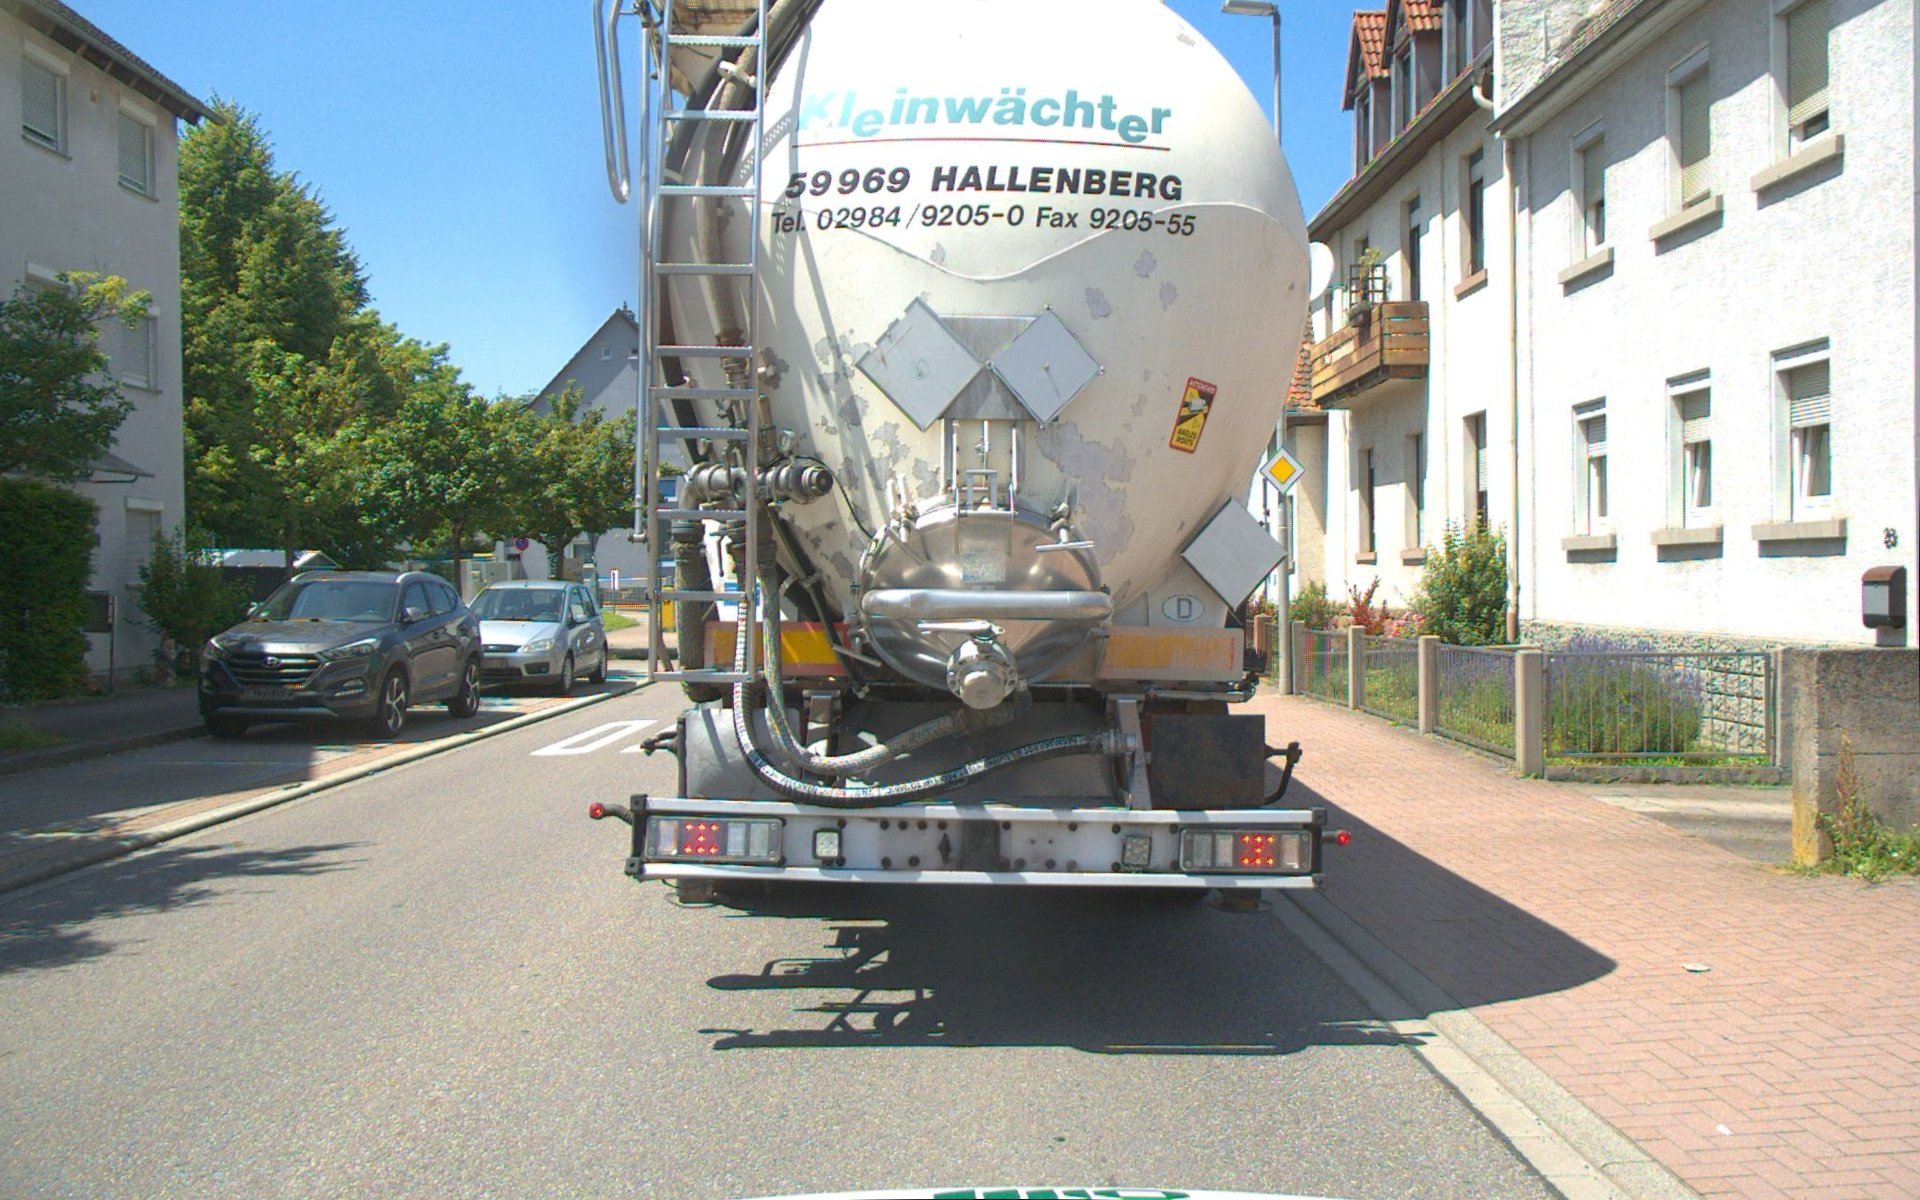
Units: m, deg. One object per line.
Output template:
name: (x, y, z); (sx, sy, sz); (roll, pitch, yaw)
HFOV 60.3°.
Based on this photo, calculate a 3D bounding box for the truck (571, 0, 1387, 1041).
truck: (0.018, -0.683, 10.045); (2.587, 4.086, 9.560); (0, 0, -1)

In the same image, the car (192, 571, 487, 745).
car: (-6.457, 0.533, 17.689); (1.657, 1.648, 3.997); (0, 0, 0)

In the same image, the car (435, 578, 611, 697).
car: (-6.351, 0.487, 24.438); (1.663, 1.608, 3.837); (0, 0, -1)

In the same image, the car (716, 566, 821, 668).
car: (-3.837, 0.293, 33.794); (1.622, 1.887, 4.463); (-2, 1, -1)
